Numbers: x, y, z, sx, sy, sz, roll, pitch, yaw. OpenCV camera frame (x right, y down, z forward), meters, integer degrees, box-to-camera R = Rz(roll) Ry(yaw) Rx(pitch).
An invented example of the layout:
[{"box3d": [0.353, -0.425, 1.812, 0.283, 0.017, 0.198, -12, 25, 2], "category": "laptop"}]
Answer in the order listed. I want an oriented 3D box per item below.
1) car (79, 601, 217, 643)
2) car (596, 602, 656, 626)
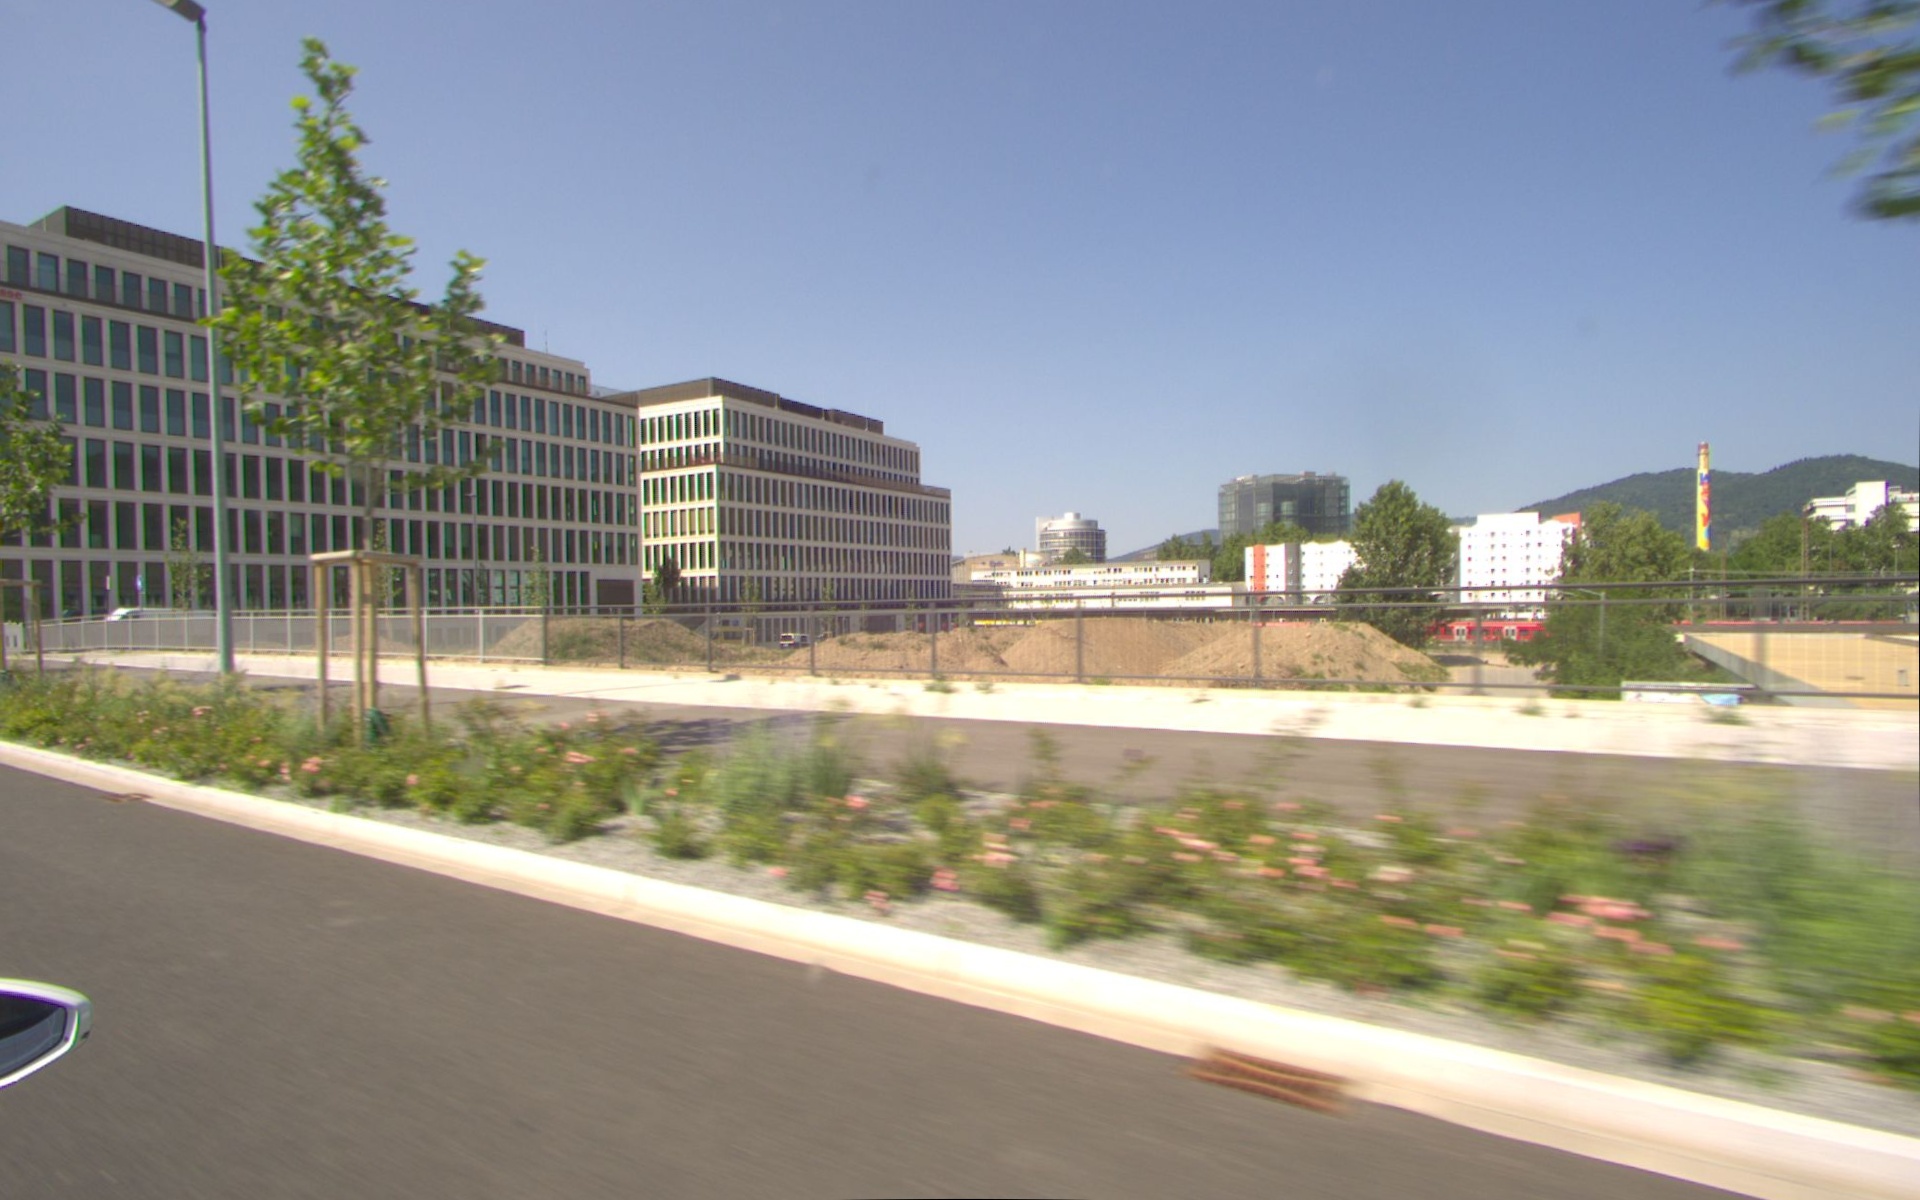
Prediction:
[{"box3d": [-46.990, 1.334, 58.115, 2.117, 2.299, 5.825, 0, -2, 34], "category": "car"}, {"box3d": [-22.873, 0.949, 68.687, 1.634, 1.614, 3.673, 0, -1, 34], "category": "car"}]
